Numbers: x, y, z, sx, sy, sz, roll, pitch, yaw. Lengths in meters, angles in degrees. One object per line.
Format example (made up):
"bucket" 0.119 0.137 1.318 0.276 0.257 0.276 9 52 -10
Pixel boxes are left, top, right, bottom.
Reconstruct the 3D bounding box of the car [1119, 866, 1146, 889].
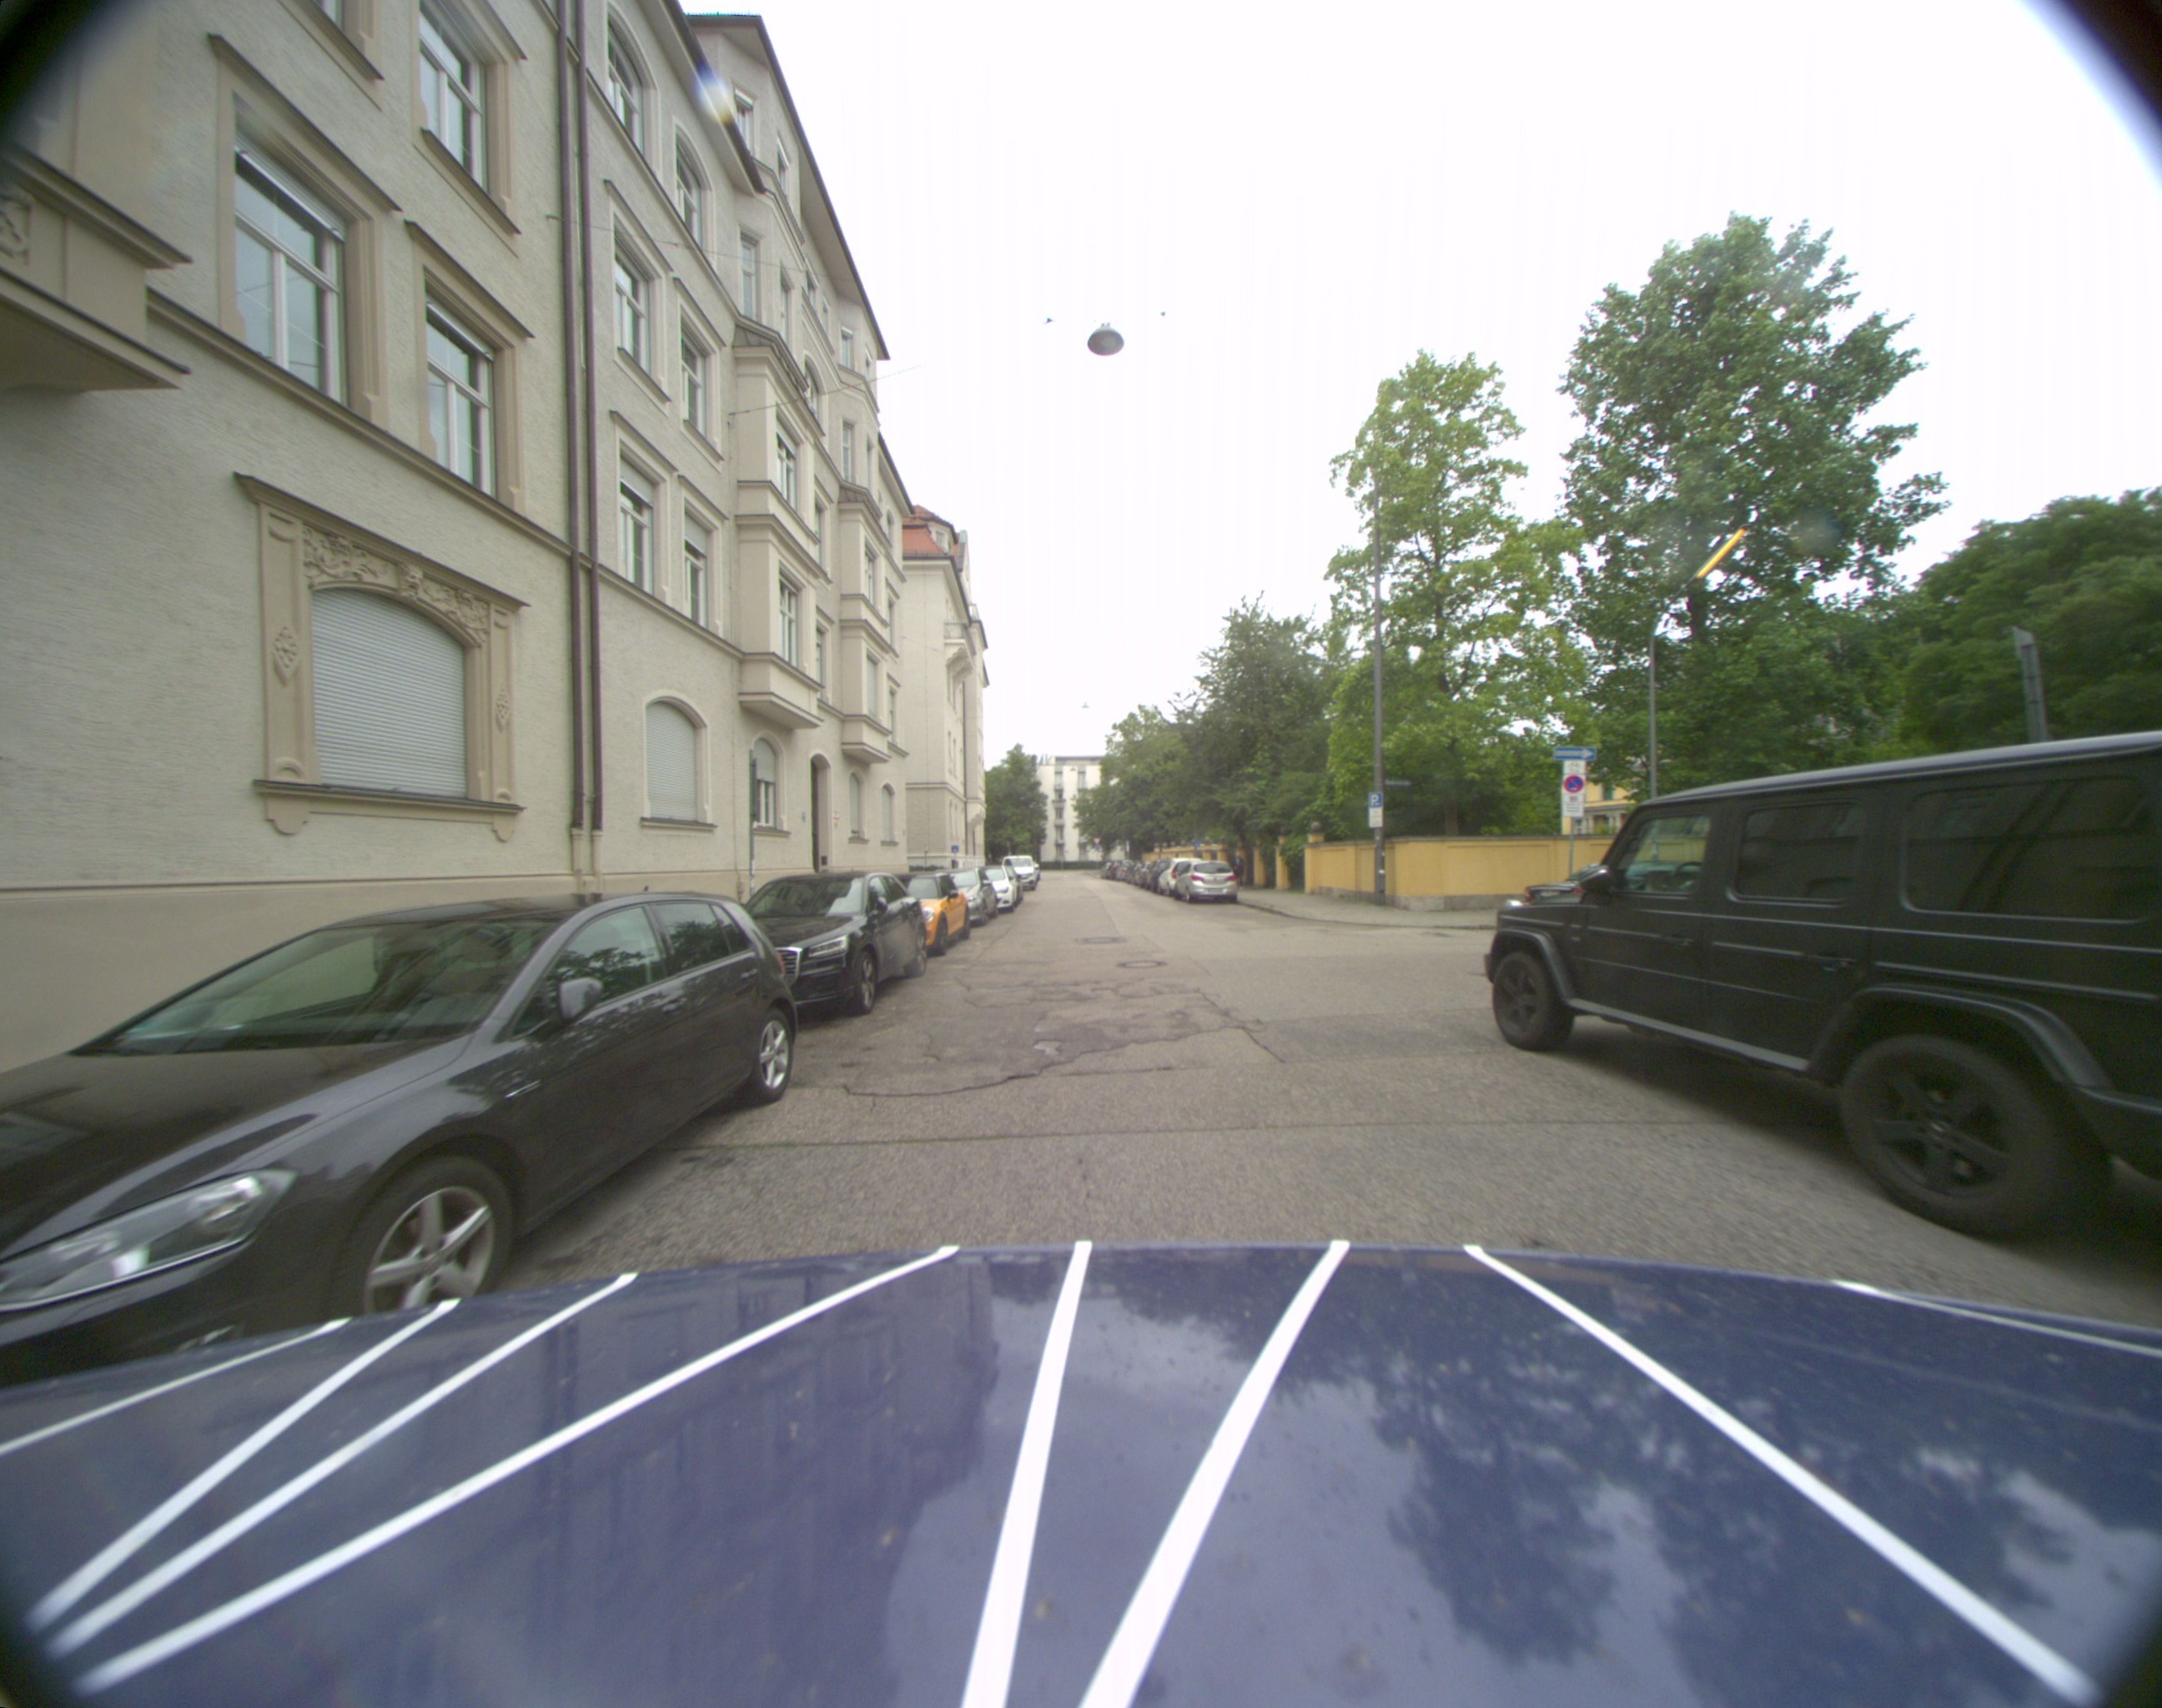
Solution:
"car" 3.816 1.723 56.418 1.653 1.551 3.930 0 0 -1

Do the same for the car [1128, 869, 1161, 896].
"car" 4.000 1.767 48.250 1.653 1.551 3.930 0 0 -1

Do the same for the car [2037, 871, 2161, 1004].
"car" 15.448 1.039 9.678 4.520 1.557 1.932 0 2 -7

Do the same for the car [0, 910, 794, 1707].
"car" -2.854 1.108 3.236 1.646 1.409 4.000 -2 0 1

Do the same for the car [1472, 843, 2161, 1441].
"car" 4.351 0.904 4.178 1.917 1.875 4.816 0 0 0

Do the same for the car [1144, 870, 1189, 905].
"car" 4.133 1.592 37.319 1.653 1.551 3.930 0 0 -1

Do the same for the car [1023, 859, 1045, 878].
"car" -4.154 1.263 67.181 1.794 1.638 4.084 -2 0 -2

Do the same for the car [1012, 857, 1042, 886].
"car" -3.496 1.124 49.802 1.794 1.776 4.084 -2 0 -3

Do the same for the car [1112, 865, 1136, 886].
"car" 3.422 1.708 60.929 1.653 1.551 3.930 0 0 -1

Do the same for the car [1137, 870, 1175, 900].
"car" 4.146 1.683 42.603 1.653 1.551 3.930 0 0 -1

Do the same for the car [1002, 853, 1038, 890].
"car" -3.404 0.973 42.825 1.794 1.926 4.084 -2 0 -2

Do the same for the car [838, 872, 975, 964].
"car" -3.105 1.088 14.230 1.660 1.431 3.598 0 0 1

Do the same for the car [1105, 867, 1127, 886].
"car" 3.069 1.974 66.783 1.653 1.551 3.930 0 0 -1

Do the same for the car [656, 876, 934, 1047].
"car" -3.034 1.054 9.006 1.747 1.507 3.958 -1 -1 0

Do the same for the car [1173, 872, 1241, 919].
"car" 4.442 1.446 27.394 1.705 1.483 3.955 0 0 -1

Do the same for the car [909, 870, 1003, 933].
"car" -3.130 1.154 19.809 1.715 1.382 4.000 -2 0 0

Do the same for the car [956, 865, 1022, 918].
"car" -2.866 1.136 24.458 1.715 1.462 4.084 -2 0 -2

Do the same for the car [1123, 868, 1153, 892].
"car" 3.880 1.783 52.354 1.653 1.551 3.930 0 0 -1

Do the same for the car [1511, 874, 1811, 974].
"car" 11.315 1.297 14.994 4.738 1.733 1.904 0 0 -7

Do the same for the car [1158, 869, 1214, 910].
"car" 4.382 1.454 32.244 1.705 1.551 3.930 -1 0 -1

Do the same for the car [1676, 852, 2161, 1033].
"car" 10.127 0.926 9.151 4.520 1.846 2.054 0 0 -7

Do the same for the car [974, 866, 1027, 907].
"car" -3.050 1.202 29.539 1.715 1.382 4.084 -2 0 -2
